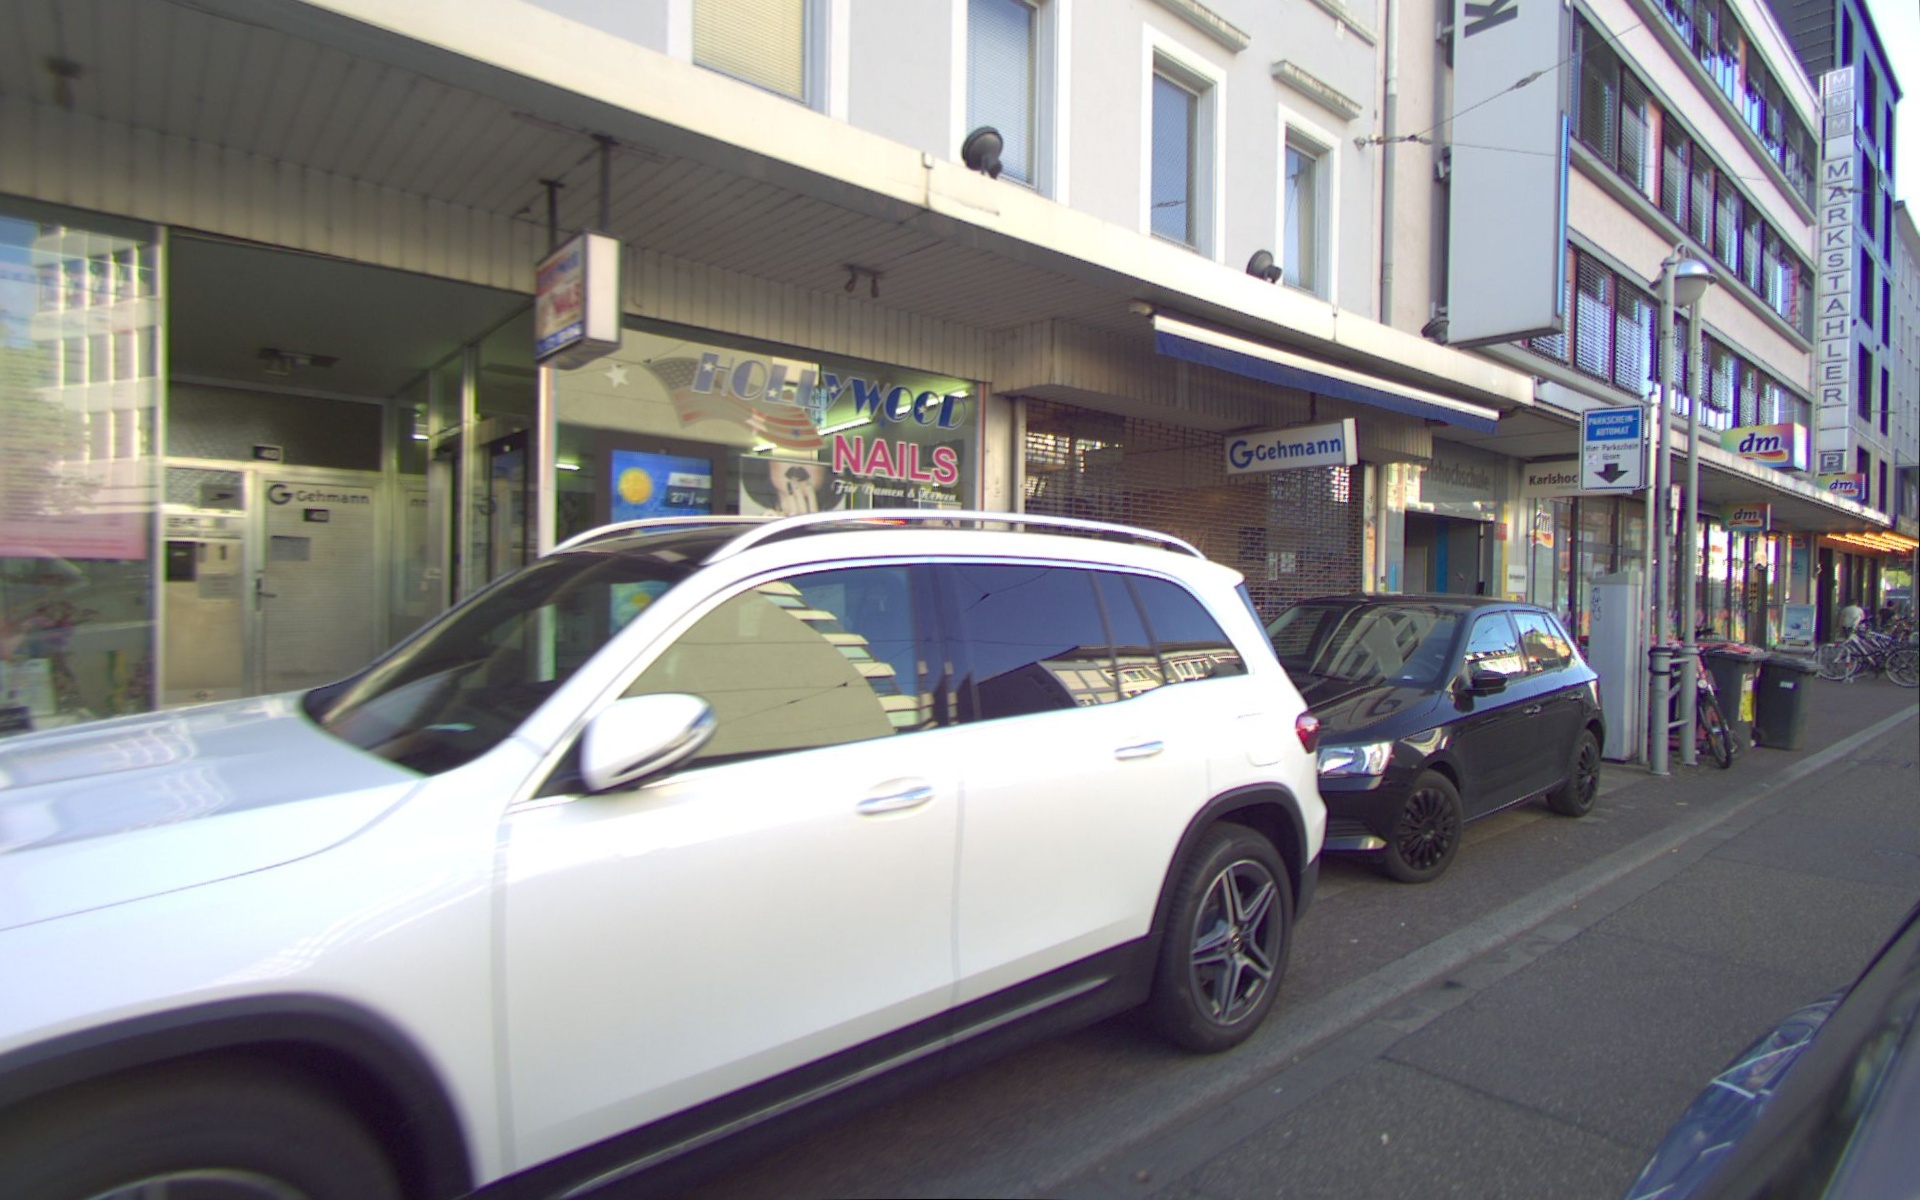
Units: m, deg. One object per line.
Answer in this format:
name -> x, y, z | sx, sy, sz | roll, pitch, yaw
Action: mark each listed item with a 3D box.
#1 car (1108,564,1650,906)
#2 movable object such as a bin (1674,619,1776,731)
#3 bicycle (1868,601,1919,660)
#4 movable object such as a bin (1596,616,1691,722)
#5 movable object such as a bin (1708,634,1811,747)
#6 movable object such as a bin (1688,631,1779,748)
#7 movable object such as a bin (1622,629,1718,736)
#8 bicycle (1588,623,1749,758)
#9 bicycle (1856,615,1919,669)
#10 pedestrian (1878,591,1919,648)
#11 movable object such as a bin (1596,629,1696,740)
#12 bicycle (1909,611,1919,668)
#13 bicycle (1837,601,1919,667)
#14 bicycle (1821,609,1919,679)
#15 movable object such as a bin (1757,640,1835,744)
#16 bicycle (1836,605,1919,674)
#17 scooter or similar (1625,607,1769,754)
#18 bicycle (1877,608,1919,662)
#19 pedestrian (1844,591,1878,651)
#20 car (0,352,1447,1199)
car -> 2.895, 0.574, 6.551 | 3.999, 1.547, 1.617 | -1, 2, -41
movable object such as a bin -> 8.199, 0.775, 10.852 | 0.673, 1.102, 0.693 | 0, 2, -37
bicycle -> 21.837, 0.701, 22.763 | 2.034, 1.290, 0.517 | 2, 2, 41
movable object such as a bin -> 7.737, 0.755, 11.460 | 0.653, 1.102, 0.693 | 0, 2, -37
movable object such as a bin -> 7.940, 0.876, 10.060 | 0.499, 1.026, 0.688 | 0, 2, -38
movable object such as a bin -> 7.398, 0.835, 9.677 | 0.658, 1.026, 0.523 | 0, 2, -38
movable object such as a bin -> 7.477, 0.844, 10.667 | 0.625, 1.026, 0.660 | 0, 2, -38
bicycle -> 6.487, 0.798, 9.301 | 0.314, 1.093, 1.133 | 0, 3, -41
bicycle -> 19.576, 0.871, 20.704 | 0.586, 1.044, 1.777 | 0, 2, -40
pedestrian -> 25.740, 0.523, 27.765 | 0.575, 1.511, 0.523 | 2, 2, 14
movable object such as a bin -> 6.949, 0.834, 10.257 | 0.625, 1.026, 0.660 | 0, 2, -38
bicycle -> 22.458, 0.916, 23.391 | 1.575, 1.272, 0.582 | -1, 3, -42
bicycle -> 18.395, 0.662, 19.789 | 0.577, 1.232, 1.791 | 0, 2, -40
bicycle -> 16.875, 0.786, 18.373 | 0.657, 1.174, 1.791 | 0, 2, -40
movable object such as a bin -> 8.478, 0.920, 10.265 | 0.449, 0.970, 0.489 | 0, 2, -37
bicycle -> 17.815, 0.745, 19.130 | 0.657, 1.232, 1.791 | 0, 2, -40
scooter or similar -> 6.835, 0.717, 9.417 | 0.314, 1.247, 0.994 | 0, 3, -41
bicycle -> 21.273, 0.787, 22.130 | 1.774, 1.145, 0.471 | 3, 2, 45
pedestrian -> 25.070, 0.577, 28.156 | 0.587, 1.605, 0.582 | 0, 3, -42
car -> -0.612, 0.496, 3.051 | 5.102, 1.745, 1.853 | -1, 3, -41
